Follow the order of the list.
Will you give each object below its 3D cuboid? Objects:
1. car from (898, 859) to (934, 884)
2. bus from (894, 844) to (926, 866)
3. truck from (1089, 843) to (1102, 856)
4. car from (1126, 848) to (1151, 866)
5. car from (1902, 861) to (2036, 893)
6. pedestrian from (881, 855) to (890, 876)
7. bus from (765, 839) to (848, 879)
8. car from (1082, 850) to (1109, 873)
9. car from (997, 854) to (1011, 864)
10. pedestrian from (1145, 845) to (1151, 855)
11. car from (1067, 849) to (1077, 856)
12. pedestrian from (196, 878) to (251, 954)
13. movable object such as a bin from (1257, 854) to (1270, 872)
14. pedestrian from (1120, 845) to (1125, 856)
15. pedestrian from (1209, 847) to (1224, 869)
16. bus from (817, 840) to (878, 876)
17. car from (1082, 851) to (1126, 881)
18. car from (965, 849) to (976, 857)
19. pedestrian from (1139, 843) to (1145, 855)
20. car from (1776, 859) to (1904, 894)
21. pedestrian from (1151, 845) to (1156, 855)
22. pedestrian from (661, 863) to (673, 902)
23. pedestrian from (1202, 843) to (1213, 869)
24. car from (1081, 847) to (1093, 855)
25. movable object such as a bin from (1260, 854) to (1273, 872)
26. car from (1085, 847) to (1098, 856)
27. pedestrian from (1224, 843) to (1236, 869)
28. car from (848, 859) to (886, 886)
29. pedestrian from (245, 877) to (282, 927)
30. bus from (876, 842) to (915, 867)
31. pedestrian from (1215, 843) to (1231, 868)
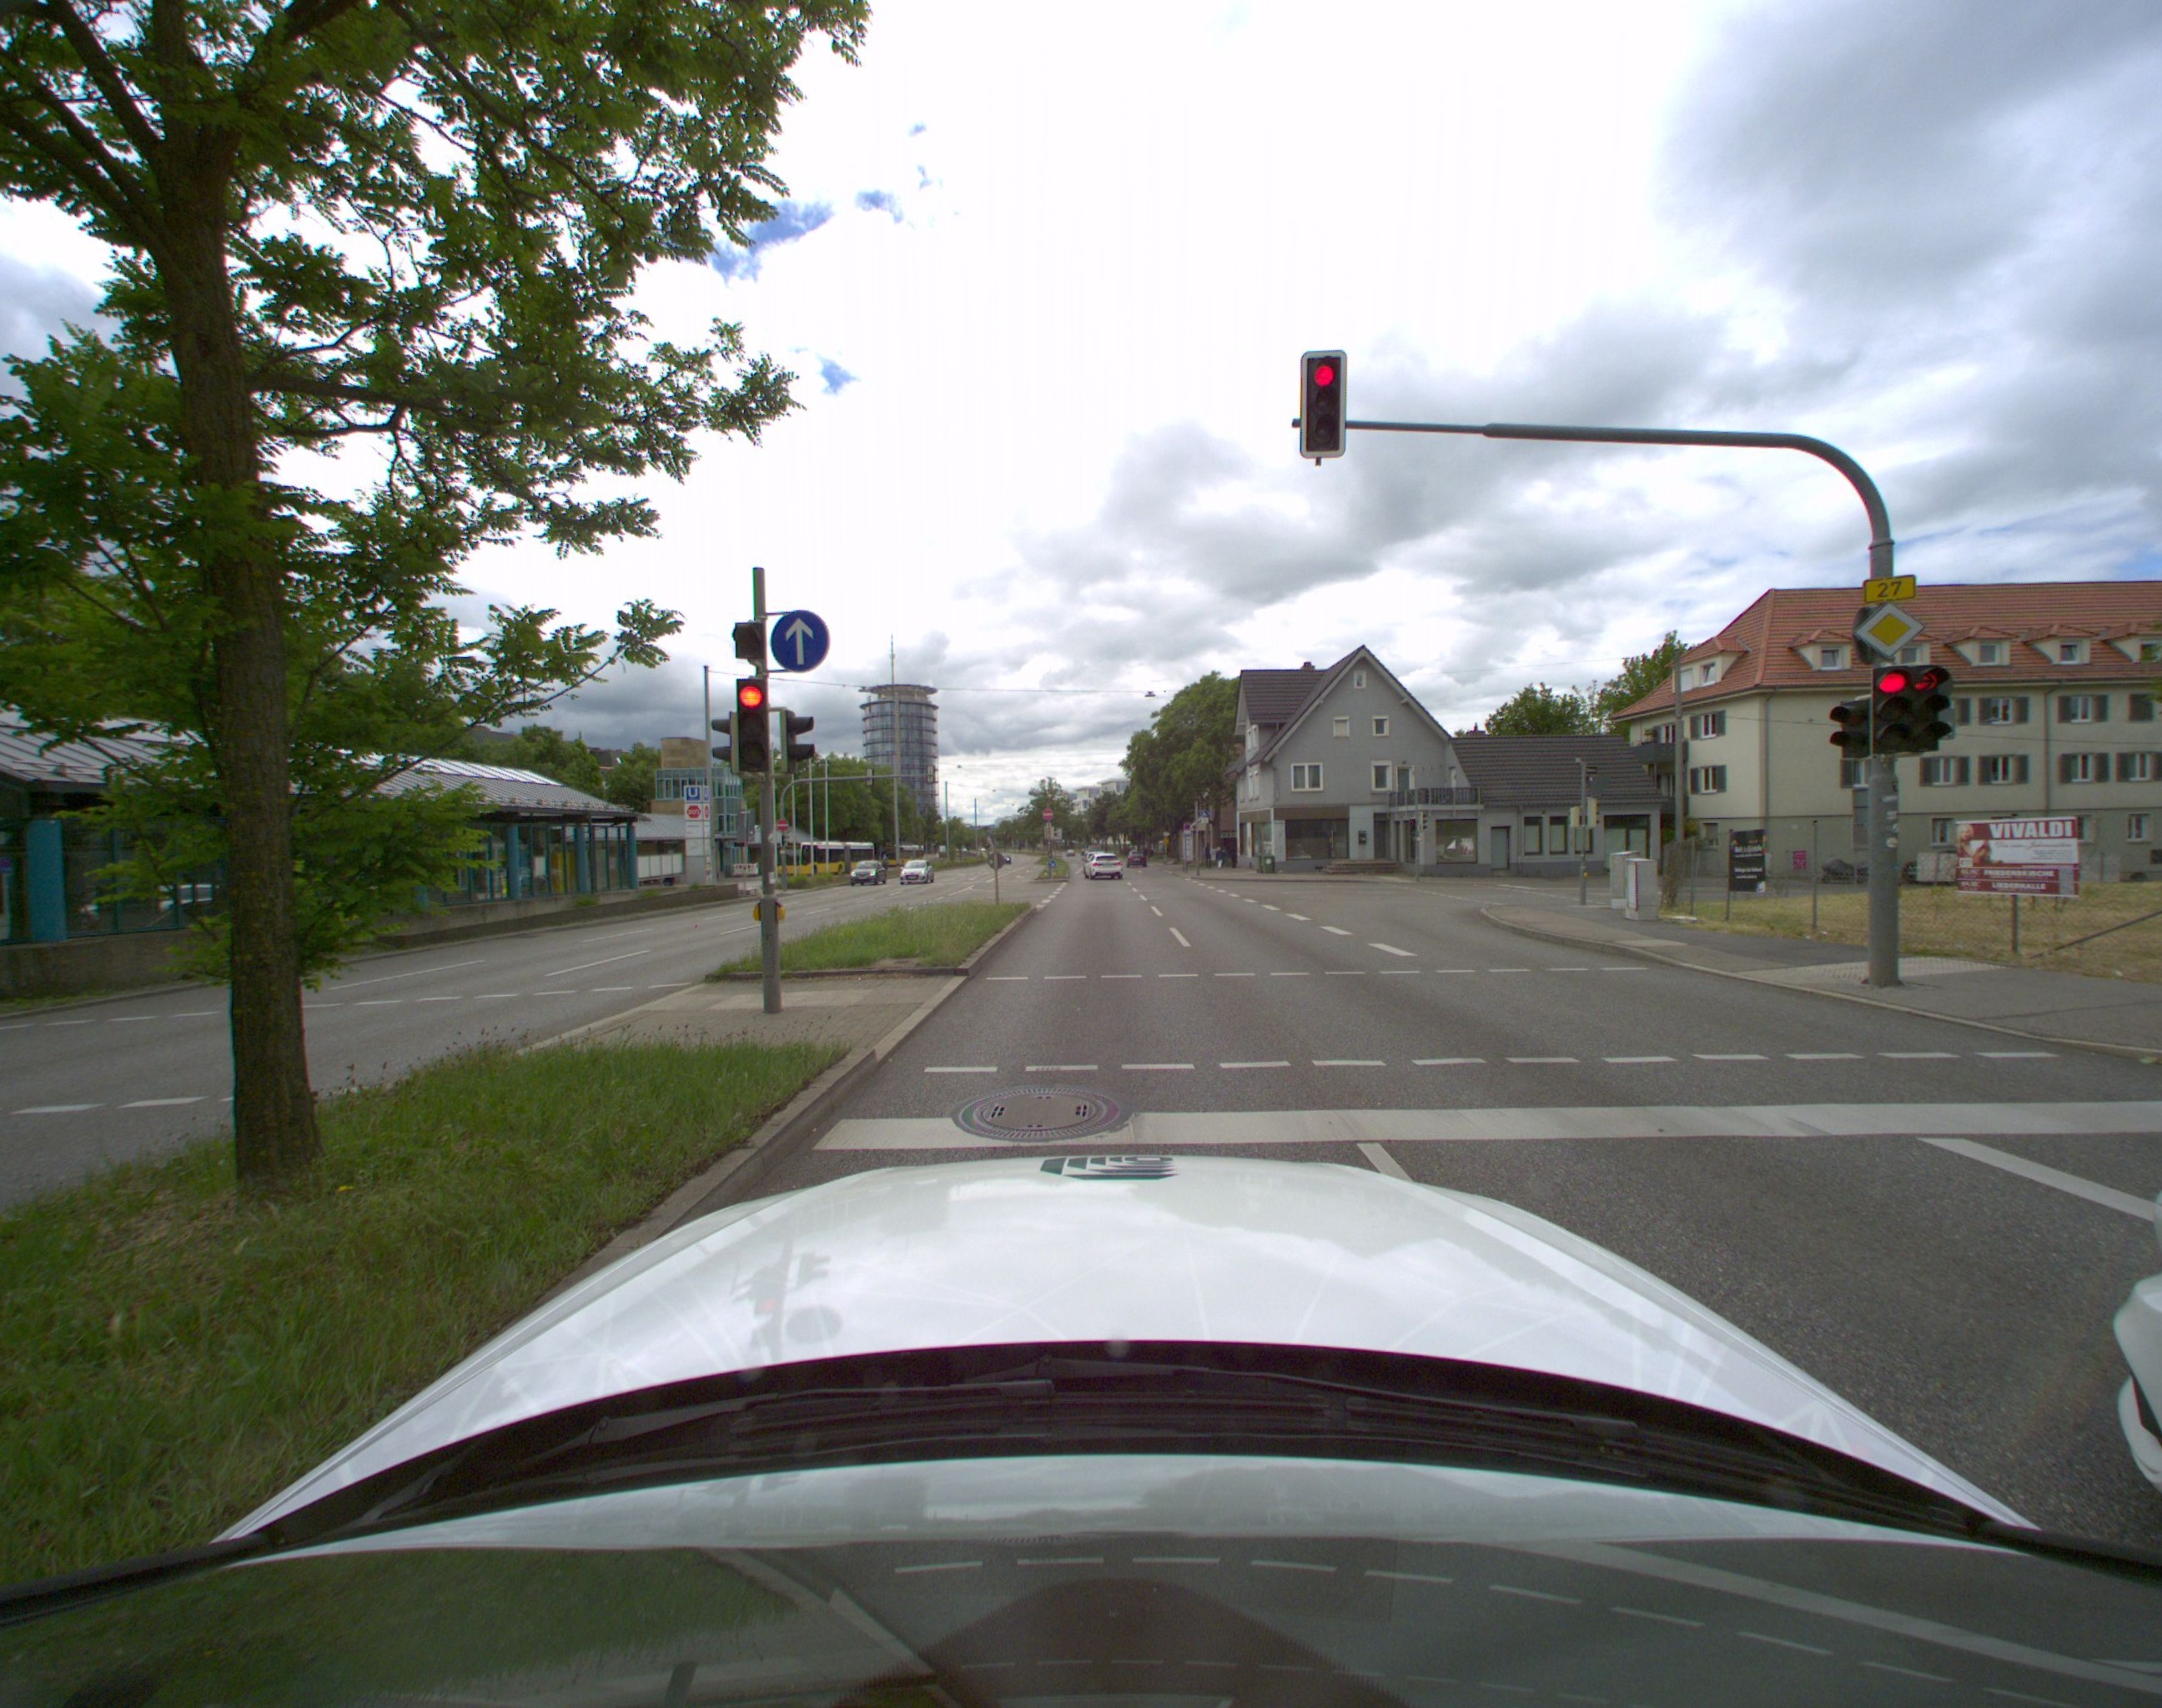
[{"bbox_3d":[-10.339,1.057,51.320,1.680,1.462,3.552,-2,0,-3],"label":"car"},{"bbox_3d":[-26.037,0.120,124.324,3.134,3.225,7.765,-2,0,0],"label":"bus"},{"bbox_3d":[2.755,-0.822,156.668,2.246,2.416,4.928,-1,0,-3],"label":"truck"},{"bbox_3d":[5.153,0.305,73.729,1.883,1.494,4.098,-3,-1,0],"label":"car"},{"bbox_3d":[39.812,1.025,36.575,3.972,1.377,1.871,0,0,2],"label":"car"},{"bbox_3d":[-18.390,1.073,76.541,0.658,1.897,0.686,-2,0,1],"label":"pedestrian"},{"bbox_3d":[-24.323,0.403,72.865,2.975,3.250,10.186,-2,0,6],"label":"bus"},{"bbox_3d":[1.055,0.510,58.719,1.816,1.540,4.115,-2,0,2],"label":"car"},{"bbox_3d":[-11.520,0.740,121.706,1.696,1.492,3.563,-2,0,1],"label":"car"},{"bbox_3d":[10.754,-0.610,130.721,0.649,1.570,0.669,-2,0,-6],"label":"pedestrian"},{"bbox_3d":[-1.910,-0.361,173.470,1.963,1.420,4.017,-2,0,-3],"label":"car"},{"bbox_3d":[-20.685,1.485,19.648,0.529,1.762,0.753,-2,0,-9],"label":"pedestrian"},{"bbox_3d":[10.038,0.479,44.745,0.527,0.979,0.737,-2,0,2],"label":"movable object such as a bin"},{"bbox_3d":[8.724,-0.802,171.815,0.930,2.308,1.008,0,-1,-8],"label":"pedestrian"},{"bbox_3d":[9.329,0.275,55.918,0.698,1.507,0.876,-2,0,31],"label":"pedestrian"},{"bbox_3d":[-23.352,0.370,81.865,2.975,3.270,7.889,-2,0,6],"label":"bus"},{"bbox_3d":[1.285,0.643,46.814,1.991,1.477,4.248,-2,2,-6],"label":"car"},{"bbox_3d":[-27.258,-0.180,201.215,1.958,2.014,4.001,0,-1,2],"label":"car"},{"bbox_3d":[10.771,-0.850,143.793,0.967,2.014,0.981,0,-1,1],"label":"pedestrian"},{"bbox_3d":[34.042,0.988,36.613,3.972,1.537,1.871,0,0,2],"label":"car"},{"bbox_3d":[11.568,-0.628,130.746,0.649,1.570,0.669,-2,0,-6],"label":"pedestrian"},{"bbox_3d":[-17.252,1.176,33.935,0.420,1.591,0.353,-2,0,-28],"label":"pedestrian"},{"bbox_3d":[8.813,0.120,56.749,0.701,1.780,0.872,-2,0,7],"label":"pedestrian"},{"bbox_3d":[1.290,-0.563,174.104,2.246,1.647,4.927,-2,0,-3],"label":"car"},{"bbox_3d":[10.032,0.479,43.954,0.527,0.979,0.737,-2,0,2],"label":"movable object such as a bin"},{"bbox_3d":[2.098,-0.478,165.282,2.246,1.757,4.928,-2,0,-3],"label":"car"},{"bbox_3d":[10.228,0.137,55.865,0.700,1.760,1.055,-2,0,11],"label":"pedestrian"},{"bbox_3d":[-13.492,1.149,51.531,1.681,1.578,3.344,-2,0,-4],"label":"car"},{"bbox_3d":[-27.605,1.608,27.514,0.520,1.655,0.709,-1,0,-5],"label":"pedestrian"},{"bbox_3d":[-26.094,0.095,115.315,3.135,3.225,10.282,-2,0,0],"label":"bus"},{"bbox_3d":[10.268,0.120,58.826,0.875,1.780,0.699,-2,0,-41],"label":"pedestrian"}]
